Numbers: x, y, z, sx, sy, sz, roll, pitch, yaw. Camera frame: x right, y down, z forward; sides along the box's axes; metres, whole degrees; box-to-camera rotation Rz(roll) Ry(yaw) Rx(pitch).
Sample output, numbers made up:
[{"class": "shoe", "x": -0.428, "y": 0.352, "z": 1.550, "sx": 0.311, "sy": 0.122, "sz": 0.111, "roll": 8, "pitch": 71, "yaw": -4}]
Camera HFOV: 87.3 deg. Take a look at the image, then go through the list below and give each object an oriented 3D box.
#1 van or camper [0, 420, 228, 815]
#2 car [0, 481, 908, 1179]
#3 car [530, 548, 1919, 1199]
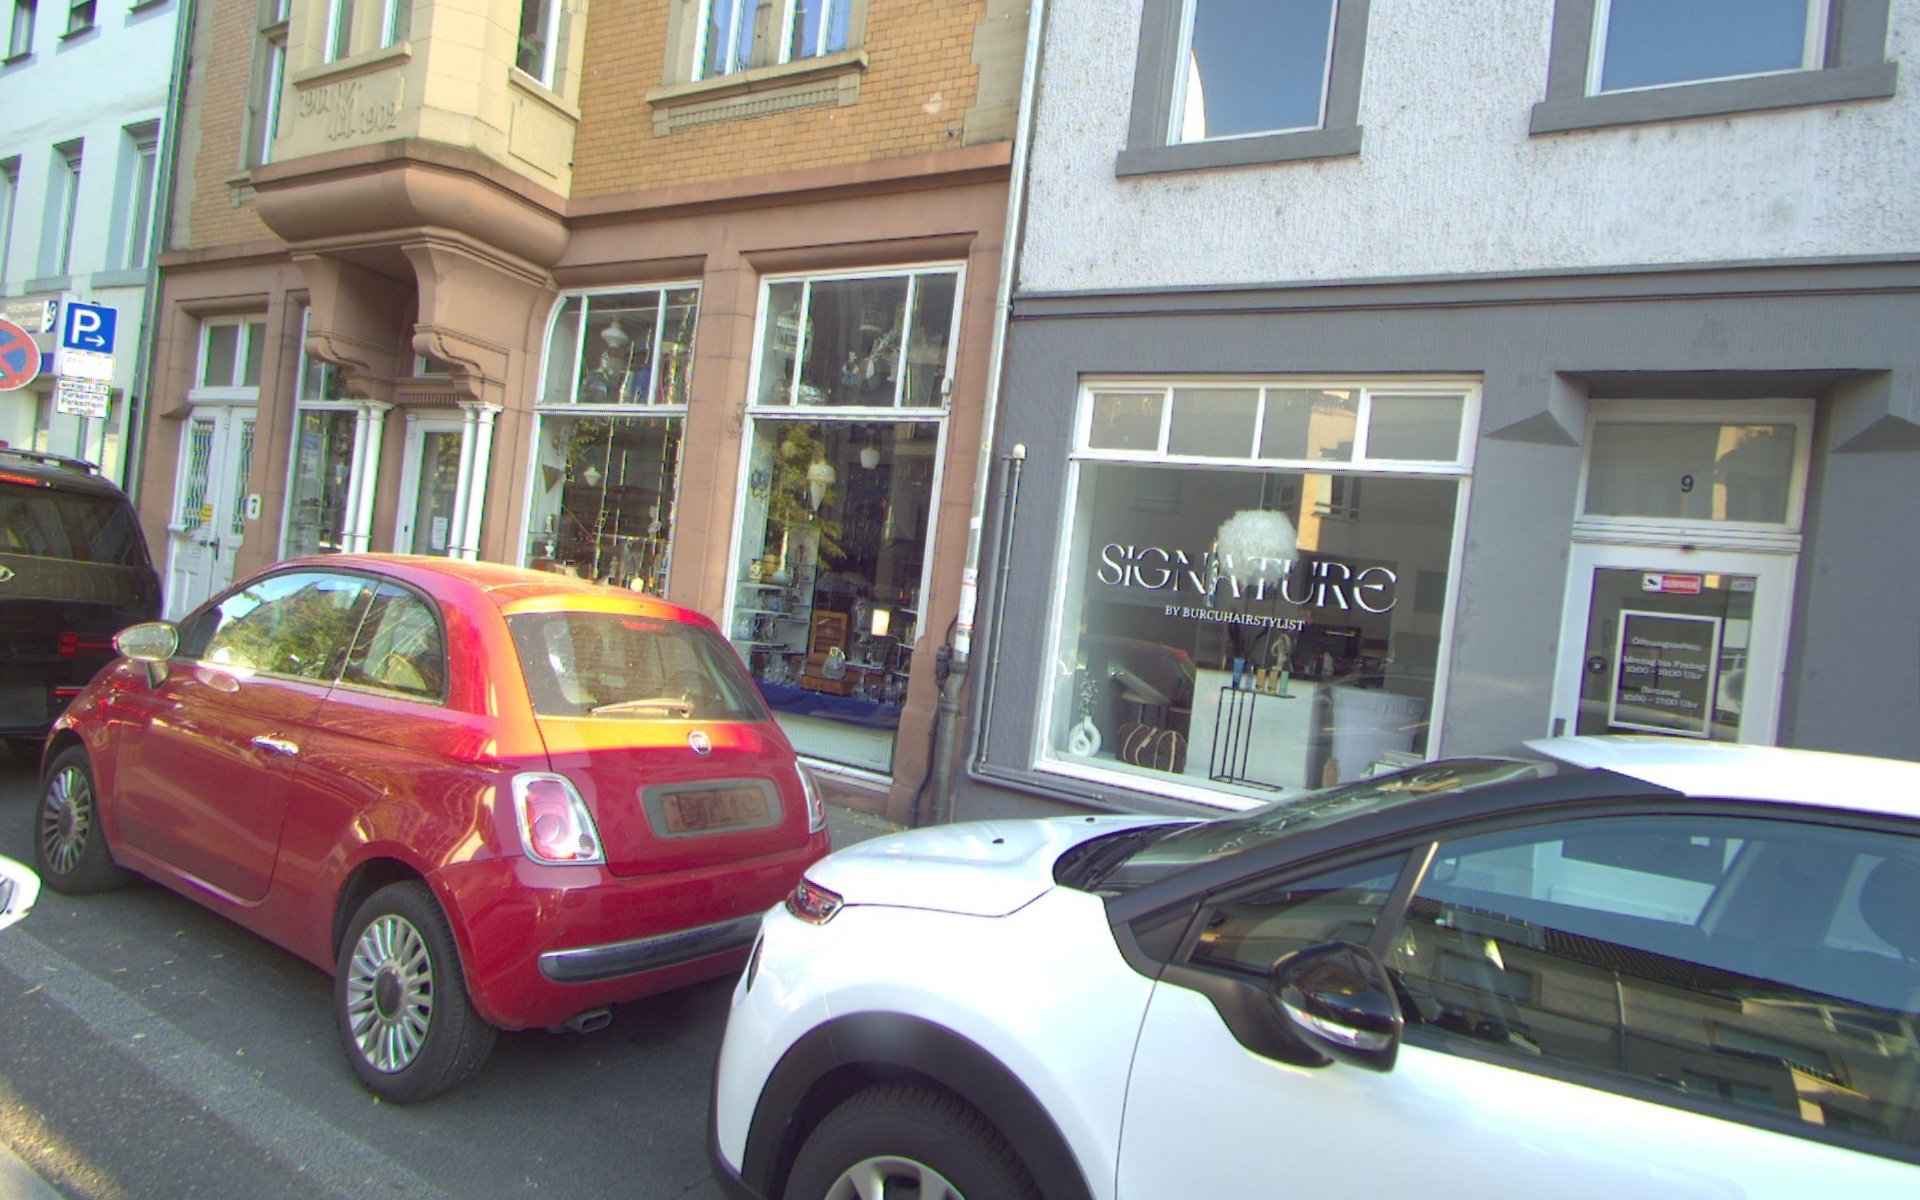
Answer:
[{"class": "van or camper", "x": -6.446, "y": -0.141, "z": 5.484, "sx": 4.380, "sy": 1.829, "sz": 1.895, "roll": 7, "pitch": -1, "yaw": 24}, {"class": "car", "x": -2.108, "y": 0.532, "z": 3.982, "sx": 3.364, "sy": 1.588, "sz": 1.529, "roll": 7, "pitch": -1, "yaw": 31}, {"class": "car", "x": 1.181, "y": 0.940, "z": 2.030, "sx": 3.868, "sy": 1.591, "sz": 1.666, "roll": 6, "pitch": -2, "yaw": 30}]
